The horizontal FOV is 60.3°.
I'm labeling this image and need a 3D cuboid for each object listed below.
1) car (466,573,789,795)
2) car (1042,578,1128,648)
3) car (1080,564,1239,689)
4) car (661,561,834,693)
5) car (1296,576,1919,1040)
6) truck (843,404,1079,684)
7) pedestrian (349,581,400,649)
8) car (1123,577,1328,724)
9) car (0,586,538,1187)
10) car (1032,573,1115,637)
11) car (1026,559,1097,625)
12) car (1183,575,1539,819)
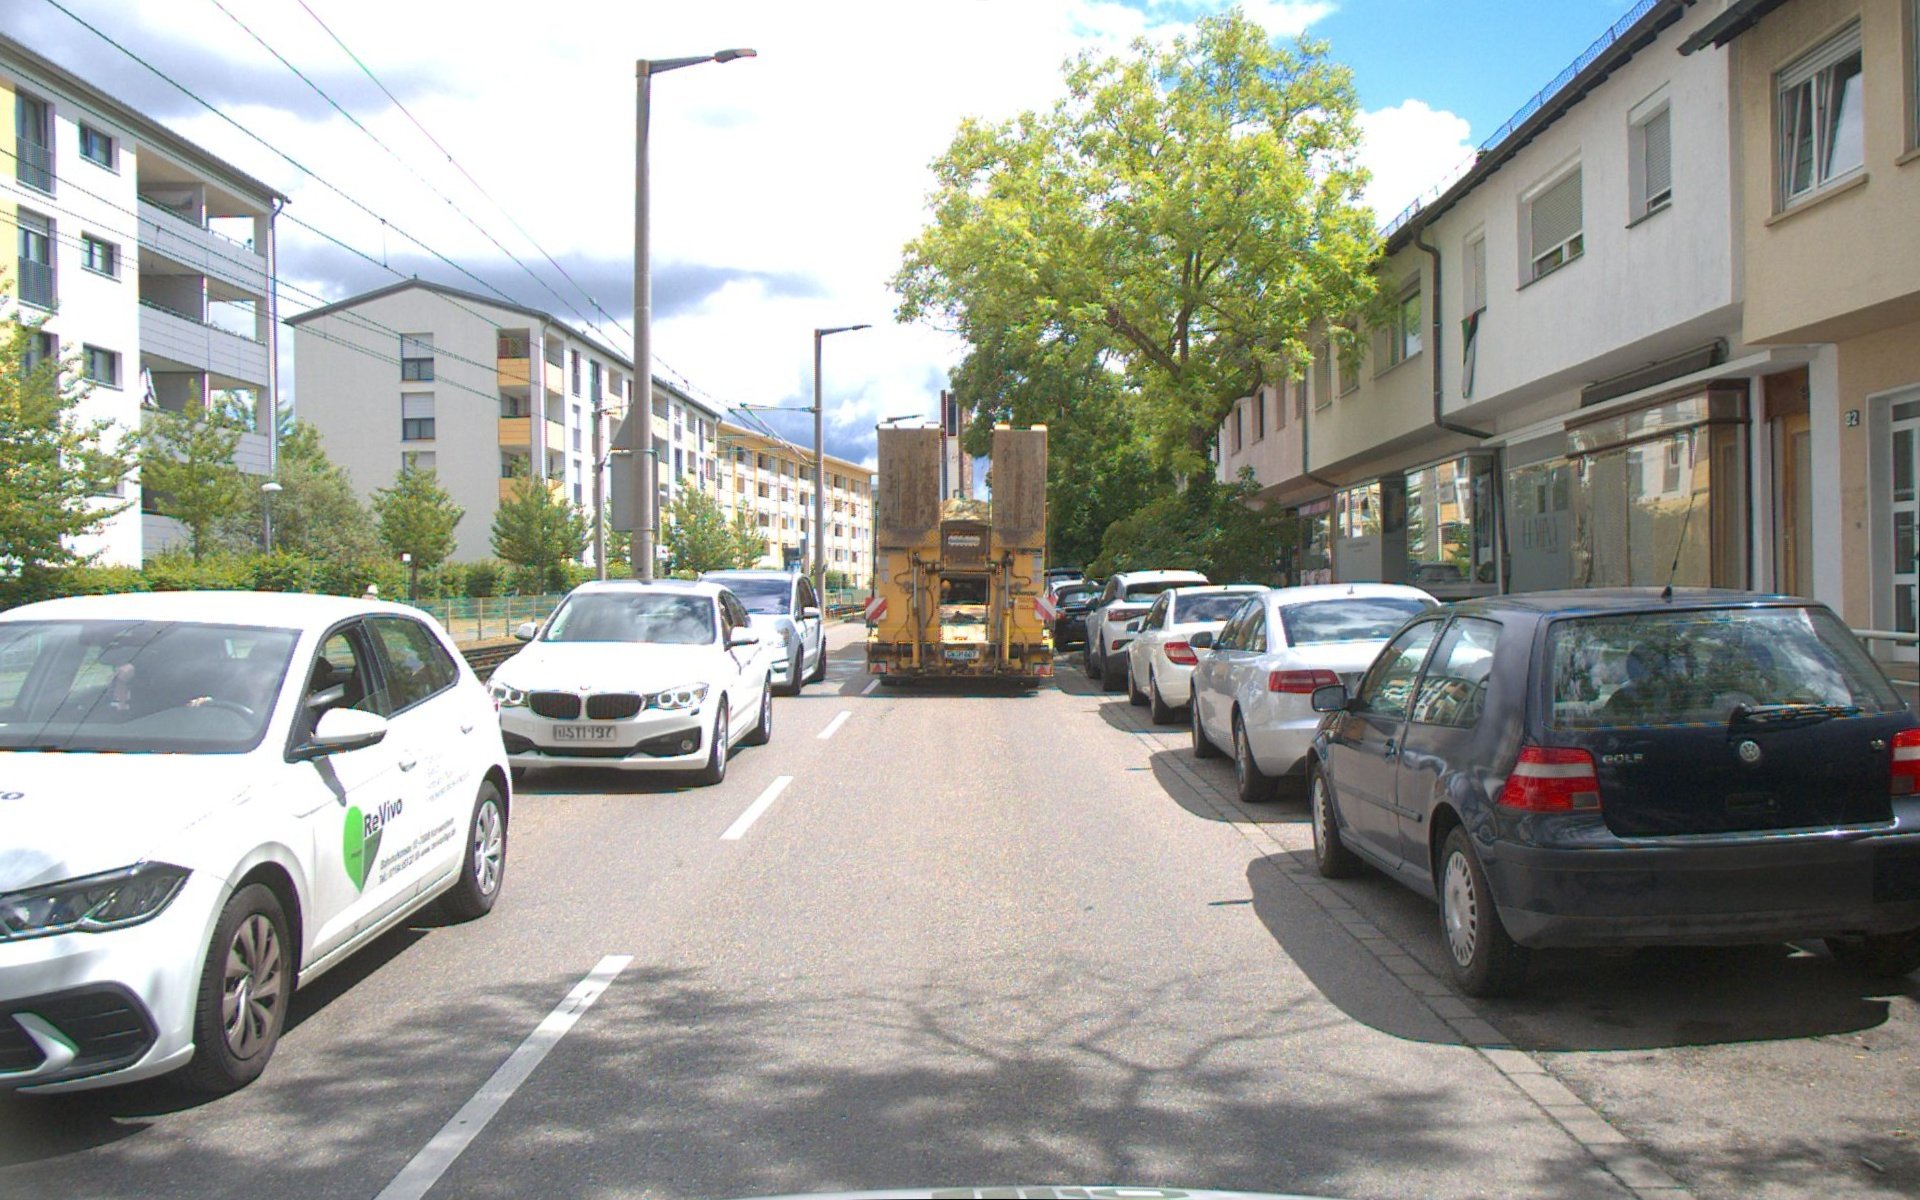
[{"bbox_3d":[-2.576,0.552,14.003,1.780,1.529,4.837,1,1,-1],"label":"car"},{"bbox_3d":[2.784,0.242,36.868,1.734,1.373,4.003,-3,1,4],"label":"car"},{"bbox_3d":[2.828,0.318,24.295,1.800,1.672,4.430,0,1,0],"label":"car"},{"bbox_3d":[-2.854,0.302,23.164,1.780,1.642,4.602,1,1,0],"label":"car"},{"bbox_3d":[2.718,0.647,7.365,1.776,1.489,4.042,0,1,2],"label":"car"},{"bbox_3d":[0.079,-0.823,27.706,3.059,3.626,12.461,0,1,1],"label":"truck"},{"bbox_3d":[-13.176,0.324,37.226,0.780,1.509,0.996,0,1,0],"label":"pedestrian"},{"bbox_3d":[2.898,0.478,18.899,1.689,1.451,4.447,0,1,1],"label":"car"},{"bbox_3d":[-2.850,0.688,5.973,1.711,1.431,3.939,-1,1,-1],"label":"car"},{"bbox_3d":[2.862,0.098,42.411,1.735,1.467,3.899,-3,1,-1],"label":"car"},{"bbox_3d":[2.952,-0.270,49.021,1.973,1.819,5.078,-1,1,2],"label":"car"},{"bbox_3d":[2.869,0.580,12.934,1.776,1.524,4.913,0,1,2],"label":"car"}]
